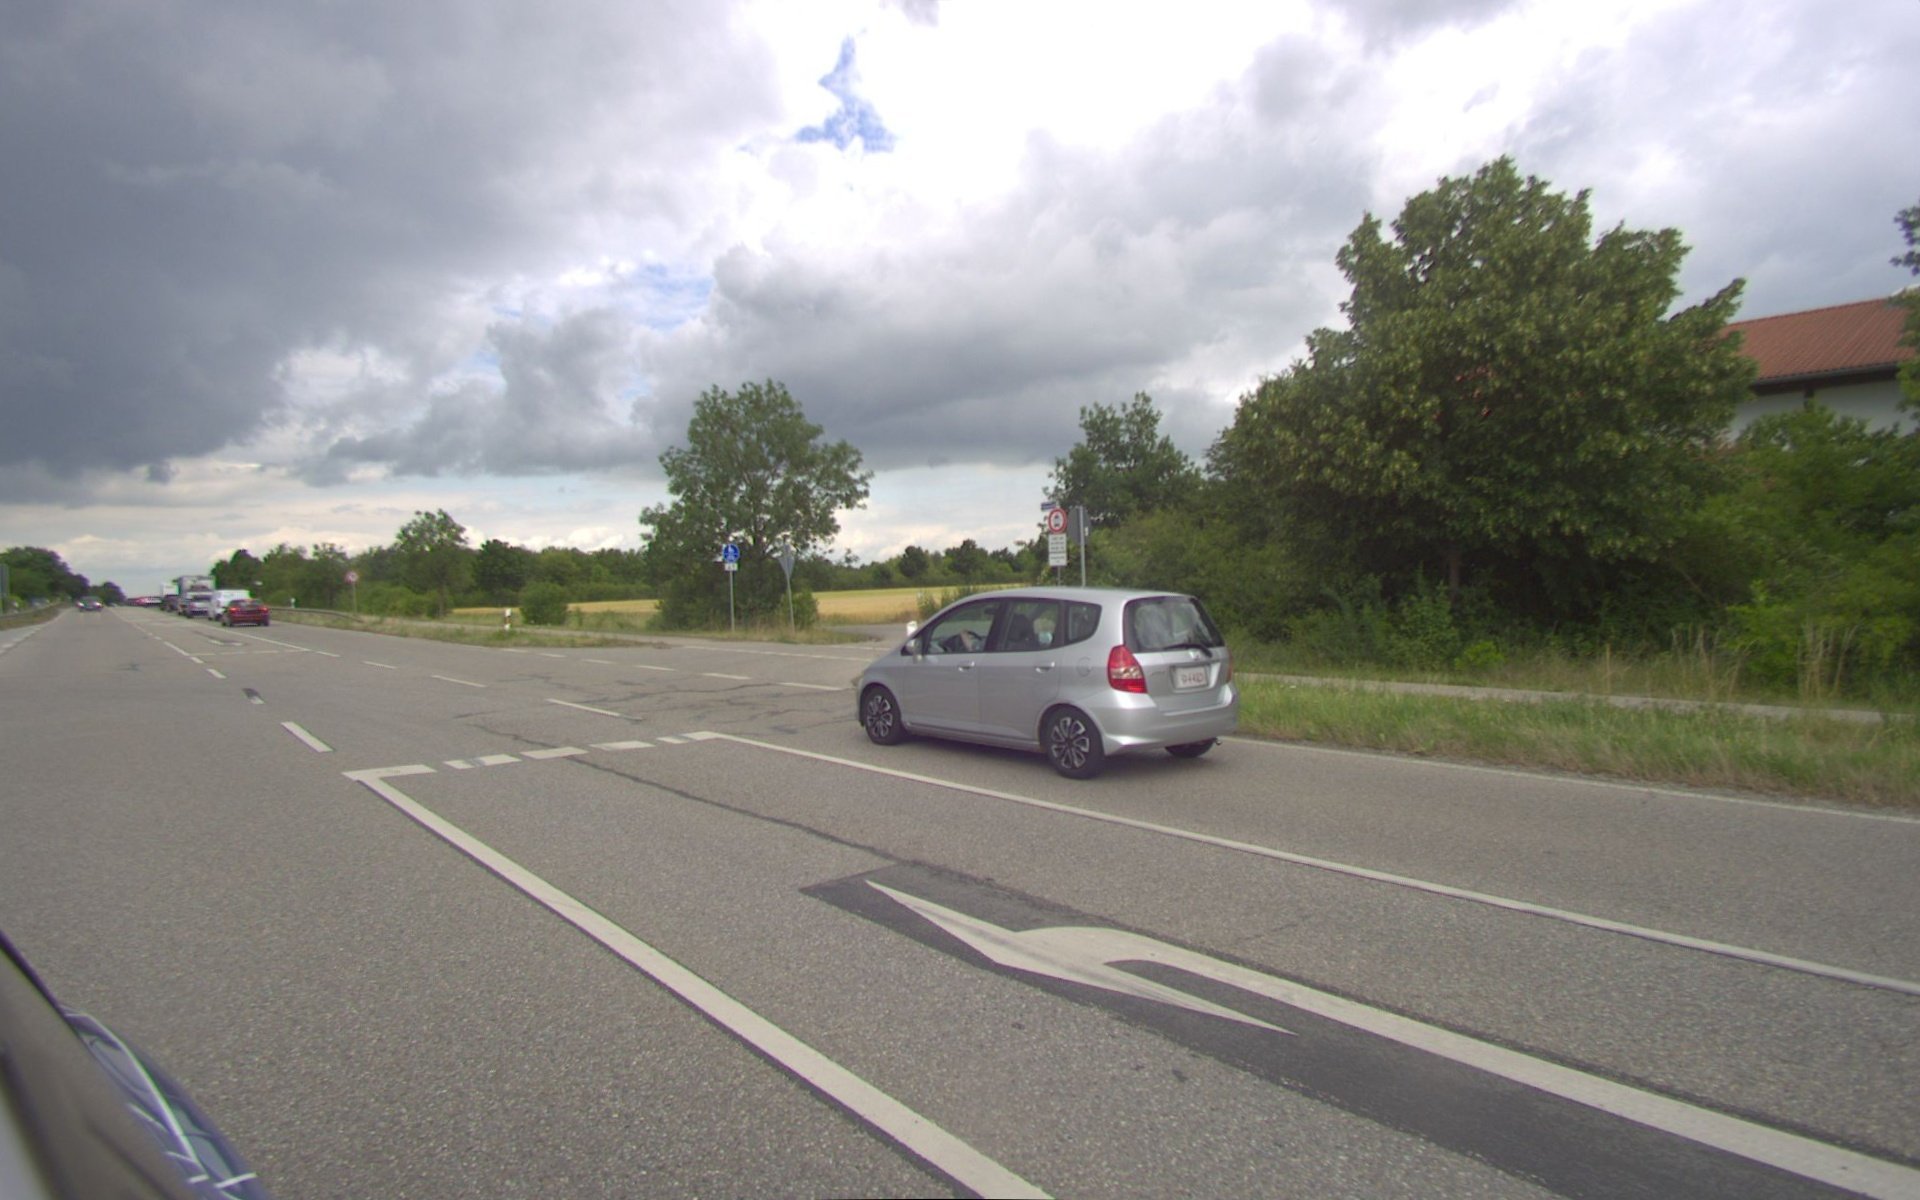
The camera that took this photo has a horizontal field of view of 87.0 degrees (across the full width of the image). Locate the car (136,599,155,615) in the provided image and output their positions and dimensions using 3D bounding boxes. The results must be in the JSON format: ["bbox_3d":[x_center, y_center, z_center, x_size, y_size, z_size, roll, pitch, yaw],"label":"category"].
[{"bbox_3d":[-114.647,1.011,142.402,1.770,2.028,4.005,-3,1,-42],"label":"car"}]

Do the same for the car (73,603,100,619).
[{"bbox_3d":[-87.802,1.066,101.772,1.969,1.493,4.006,-3,2,-41],"label":"car"}]

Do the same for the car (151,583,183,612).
[{"bbox_3d":[-88.221,-0.278,112.531,2.305,3.051,6.566,-3,1,-41],"label":"car"}]

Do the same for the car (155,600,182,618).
[{"bbox_3d":[-80.188,0.930,102.525,1.829,1.763,4.005,-3,1,-41],"label":"car"}]

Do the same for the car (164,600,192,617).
[{"bbox_3d":[-73.772,0.823,95.491,1.820,1.536,4.006,-3,1,-41],"label":"car"}]

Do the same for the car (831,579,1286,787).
[{"bbox_3d":[0.678,0.582,9.056,1.708,1.442,3.940,-1,0,-42],"label":"car"}]

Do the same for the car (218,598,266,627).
[{"bbox_3d":[-37.049,0.634,52.185,1.652,1.412,4.095,-1,0,-40],"label":"car"}]

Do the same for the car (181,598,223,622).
[{"bbox_3d":[-53.521,0.710,71.449,1.969,1.636,4.266,0,-1,-42],"label":"car"}]

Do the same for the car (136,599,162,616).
[{"bbox_3d":[-101.476,0.924,126.654,2.305,1.936,4.882,-3,1,-41],"label":"car"}]

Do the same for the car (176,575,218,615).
[{"bbox_3d":[-61.150,-0.336,81.045,2.304,3.052,6.567,0,-1,-41],"label":"car"}]

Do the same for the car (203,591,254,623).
[{"bbox_3d":[-46.369,0.449,64.083,2.080,1.900,5.398,-2,1,-41],"label":"car"}]

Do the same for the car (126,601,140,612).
[{"bbox_3d":[-141.199,1.148,172.772,1.829,1.763,4.006,-3,1,-40],"label":"car"}]
